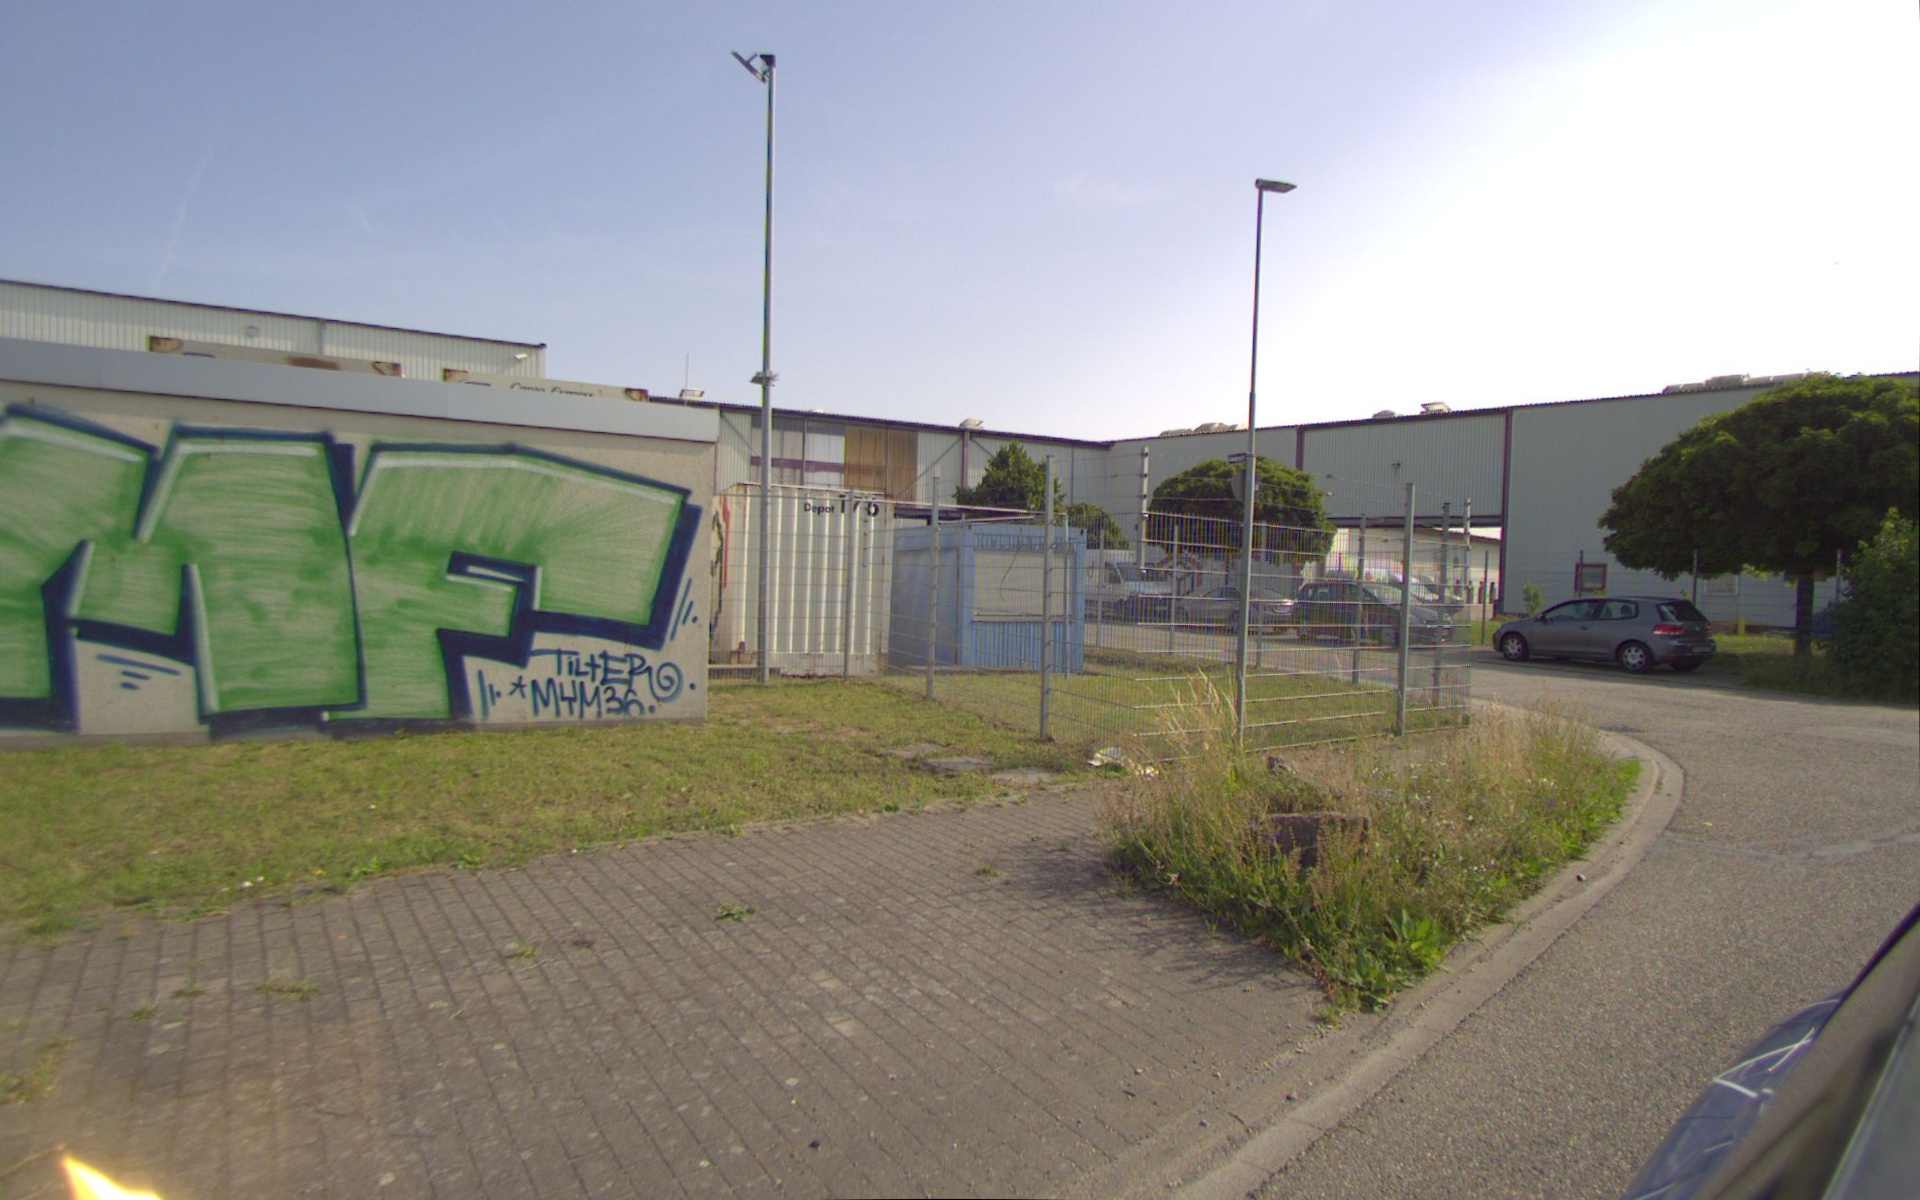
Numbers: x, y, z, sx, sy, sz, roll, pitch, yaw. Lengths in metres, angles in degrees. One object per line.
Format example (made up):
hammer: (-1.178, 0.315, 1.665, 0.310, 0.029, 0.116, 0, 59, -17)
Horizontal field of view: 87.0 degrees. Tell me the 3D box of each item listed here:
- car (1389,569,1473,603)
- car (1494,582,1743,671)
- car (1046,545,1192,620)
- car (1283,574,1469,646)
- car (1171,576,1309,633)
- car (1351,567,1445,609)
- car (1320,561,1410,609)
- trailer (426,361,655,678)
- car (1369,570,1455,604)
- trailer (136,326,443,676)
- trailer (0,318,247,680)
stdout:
car: (32.249, -0.982, 69.375, 1.898, 2.110, 4.842, 1, 3, -41)
car: (13.275, 0.440, 20.674, 1.692, 1.542, 3.969, -1, 2, -25)
car: (5.760, -0.728, 37.912, 2.162, 2.513, 6.863, -1, 2, -23)
car: (10.513, 0.200, 25.920, 1.839, 1.646, 4.277, 1, 1, -25)
car: (8.520, 0.073, 31.196, 1.692, 1.536, 4.502, -1, 2, -23)
car: (26.745, -0.756, 61.893, 1.898, 2.317, 4.842, 1, 3, -41)
car: (22.947, -0.851, 57.174, 6.591, 2.548, 2.169, 0, 2, -45)
trailer: (-7.163, -1.160, 17.080, 2.718, 3.941, 8.581, -1, 2, -24)
car: (30.076, -0.900, 67.444, 1.898, 1.988, 4.842, 1, 3, -41)
trailer: (-9.849, -1.284, 15.872, 2.718, 3.941, 8.582, 2, 2, -25)
trailer: (-12.611, -1.182, 14.343, 2.733, 3.808, 8.775, 1, 1, -27)
